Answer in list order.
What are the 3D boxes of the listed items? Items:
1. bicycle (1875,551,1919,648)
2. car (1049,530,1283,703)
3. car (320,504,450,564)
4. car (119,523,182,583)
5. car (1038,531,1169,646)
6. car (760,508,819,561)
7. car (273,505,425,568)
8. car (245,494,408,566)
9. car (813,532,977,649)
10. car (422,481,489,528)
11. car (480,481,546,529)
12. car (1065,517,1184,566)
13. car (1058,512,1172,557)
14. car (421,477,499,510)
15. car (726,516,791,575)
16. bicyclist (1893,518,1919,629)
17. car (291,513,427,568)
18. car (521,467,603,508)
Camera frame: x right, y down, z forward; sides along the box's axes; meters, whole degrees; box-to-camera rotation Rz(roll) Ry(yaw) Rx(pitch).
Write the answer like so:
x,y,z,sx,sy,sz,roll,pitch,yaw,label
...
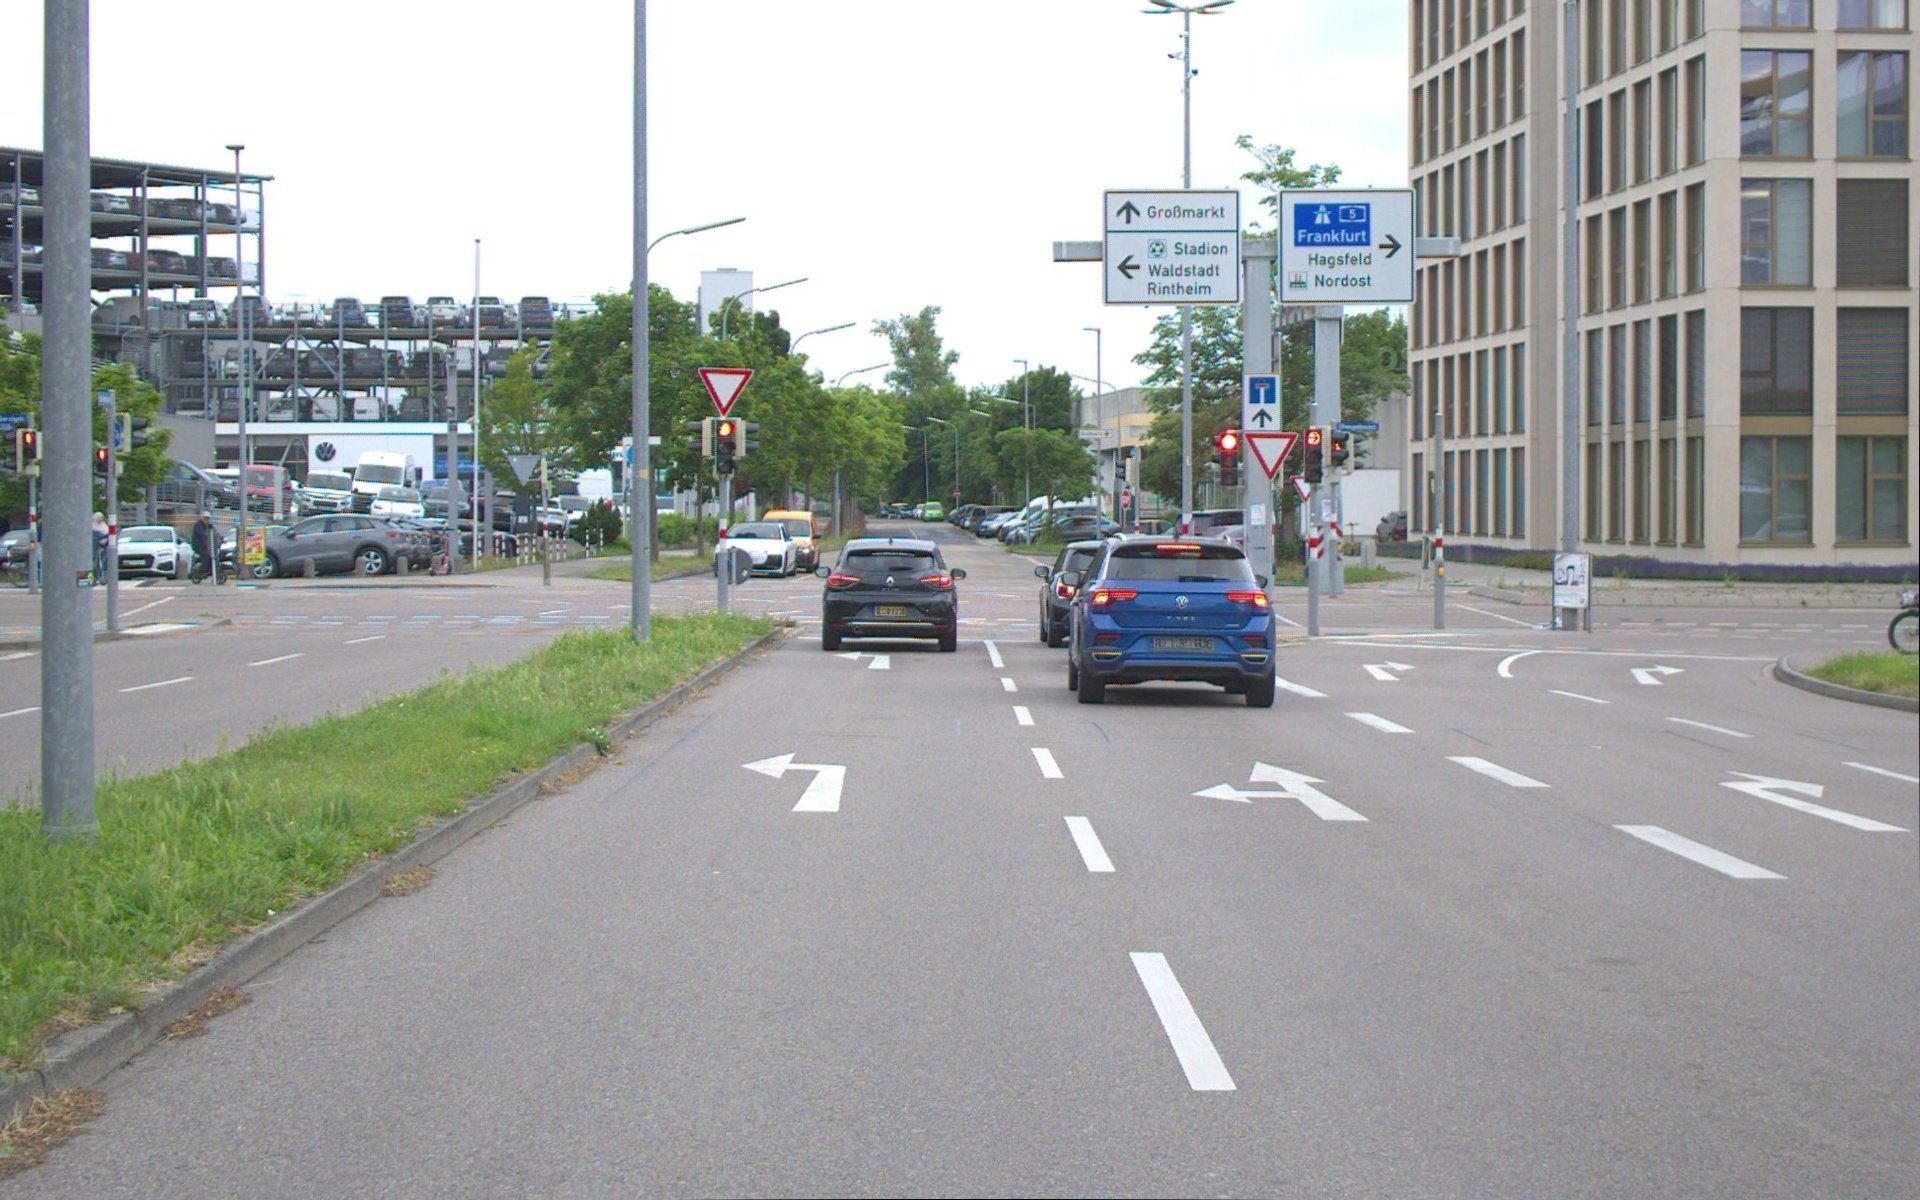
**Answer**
x,y,z,sx,sy,sz,roll,pitch,yaw,label
13.463,0.004,46.501,2.010,1.291,0.700,2,2,45,bicycle
1.871,0.113,32.365,1.834,1.509,4.000,1,1,-2,car
-16.570,-1.923,99.251,3.604,1.662,1.549,0,3,-6,car
-19.693,-1.147,83.582,1.370,1.321,3.035,0,3,-15,car
1.912,-0.179,46.699,1.524,1.427,3.391,1,2,-2,car
-4.970,-1.932,100.711,1.600,1.448,3.325,0,3,-1,car
-16.094,-1.680,90.739,3.822,1.584,1.683,0,3,-6,car
-16.285,-1.805,88.562,3.986,1.784,1.848,0,3,-6,car
-0.897,-0.163,44.811,1.987,1.423,4.242,0,1,-3,car
-19.401,-3.691,132.461,1.776,1.700,3.916,1,3,4,car
-17.212,-3.679,132.533,1.776,1.700,3.916,1,3,4,car
5.463,-1.954,114.210,3.606,1.473,1.759,1,3,18,car
5.415,-2.296,120.016,3.607,1.473,1.758,2,3,19,car
-23.768,-5.067,163.568,3.661,1.523,1.615,0,3,-8,car
-5.400,-1.483,92.568,1.600,1.448,3.325,0,3,-1,car
13.300,-0.354,46.653,0.999,1.498,0.700,2,2,45,bicyclist
-16.658,-1.656,95.446,3.604,1.471,1.549,0,3,-6,car
-16.510,-4.680,142.652,3.295,1.635,1.480,0,3,-4,car
